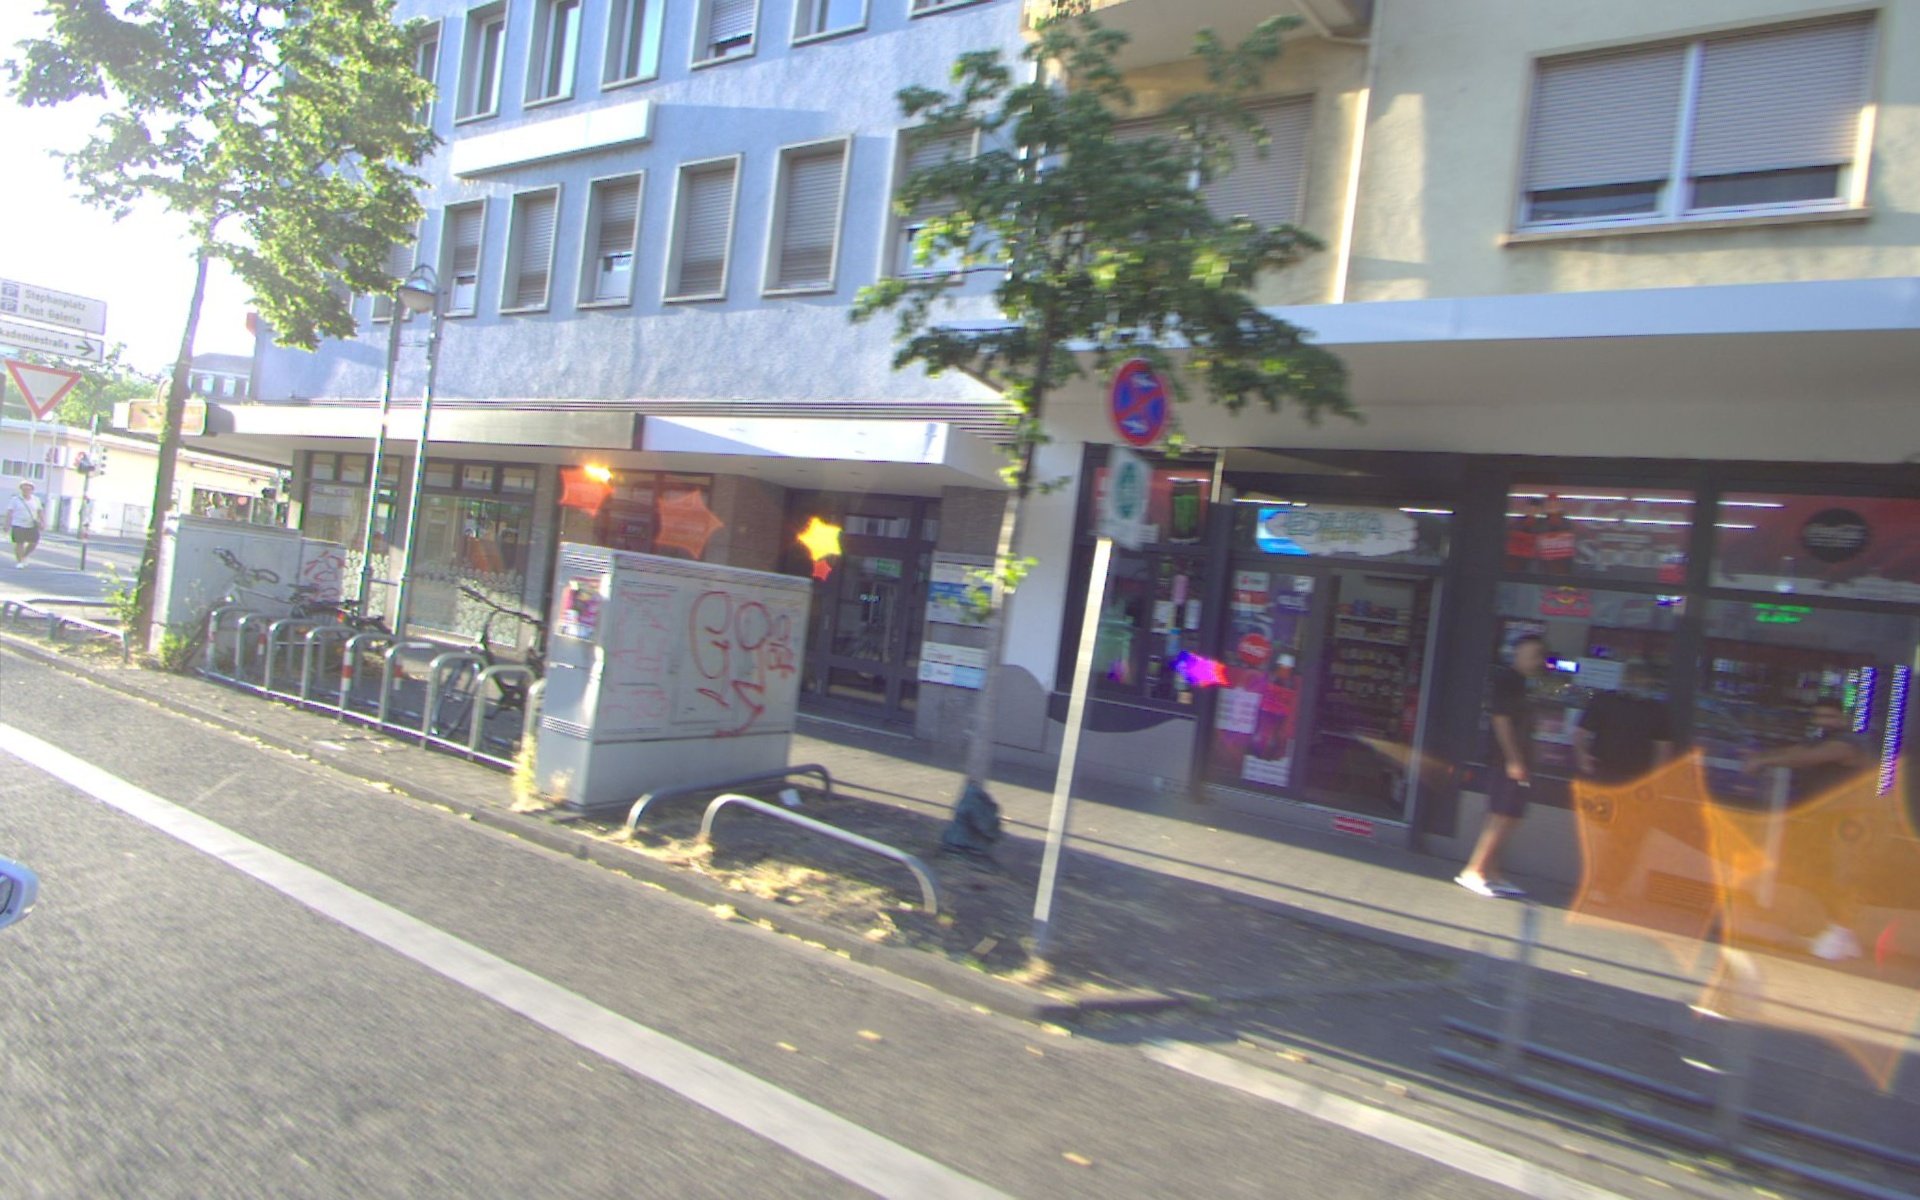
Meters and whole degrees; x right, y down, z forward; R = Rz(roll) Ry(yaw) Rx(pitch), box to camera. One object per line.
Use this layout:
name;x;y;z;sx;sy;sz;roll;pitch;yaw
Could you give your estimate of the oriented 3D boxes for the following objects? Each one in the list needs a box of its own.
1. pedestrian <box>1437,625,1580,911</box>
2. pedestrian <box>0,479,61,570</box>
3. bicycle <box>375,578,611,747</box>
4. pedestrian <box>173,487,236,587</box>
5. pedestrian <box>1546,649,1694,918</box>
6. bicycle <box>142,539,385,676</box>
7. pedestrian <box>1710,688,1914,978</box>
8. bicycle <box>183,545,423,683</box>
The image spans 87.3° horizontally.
pedestrian;3.897;1.157;7.145;0.639;1.828;0.709;8;-1;31
pedestrian;-19.041;-1.528;20.501;0.797;1.748;0.986;5;1;-30
bicycle;-3.833;0.516;8.459;0.461;1.218;1.919;7;0;21
pedestrian;-15.264;-1.261;20.359;0.797;1.911;0.986;5;1;-30
pedestrian;4.788;1.298;7.333;0.518;1.803;0.583;8;-1;12
bicycle;-7.024;0.119;10.264;0.462;1.218;1.914;7;0;33
pedestrian;5.591;1.483;6.658;0.764;1.679;0.643;8;-1;32
bicycle;-6.539;0.189;10.135;0.462;1.218;1.914;7;0;33
